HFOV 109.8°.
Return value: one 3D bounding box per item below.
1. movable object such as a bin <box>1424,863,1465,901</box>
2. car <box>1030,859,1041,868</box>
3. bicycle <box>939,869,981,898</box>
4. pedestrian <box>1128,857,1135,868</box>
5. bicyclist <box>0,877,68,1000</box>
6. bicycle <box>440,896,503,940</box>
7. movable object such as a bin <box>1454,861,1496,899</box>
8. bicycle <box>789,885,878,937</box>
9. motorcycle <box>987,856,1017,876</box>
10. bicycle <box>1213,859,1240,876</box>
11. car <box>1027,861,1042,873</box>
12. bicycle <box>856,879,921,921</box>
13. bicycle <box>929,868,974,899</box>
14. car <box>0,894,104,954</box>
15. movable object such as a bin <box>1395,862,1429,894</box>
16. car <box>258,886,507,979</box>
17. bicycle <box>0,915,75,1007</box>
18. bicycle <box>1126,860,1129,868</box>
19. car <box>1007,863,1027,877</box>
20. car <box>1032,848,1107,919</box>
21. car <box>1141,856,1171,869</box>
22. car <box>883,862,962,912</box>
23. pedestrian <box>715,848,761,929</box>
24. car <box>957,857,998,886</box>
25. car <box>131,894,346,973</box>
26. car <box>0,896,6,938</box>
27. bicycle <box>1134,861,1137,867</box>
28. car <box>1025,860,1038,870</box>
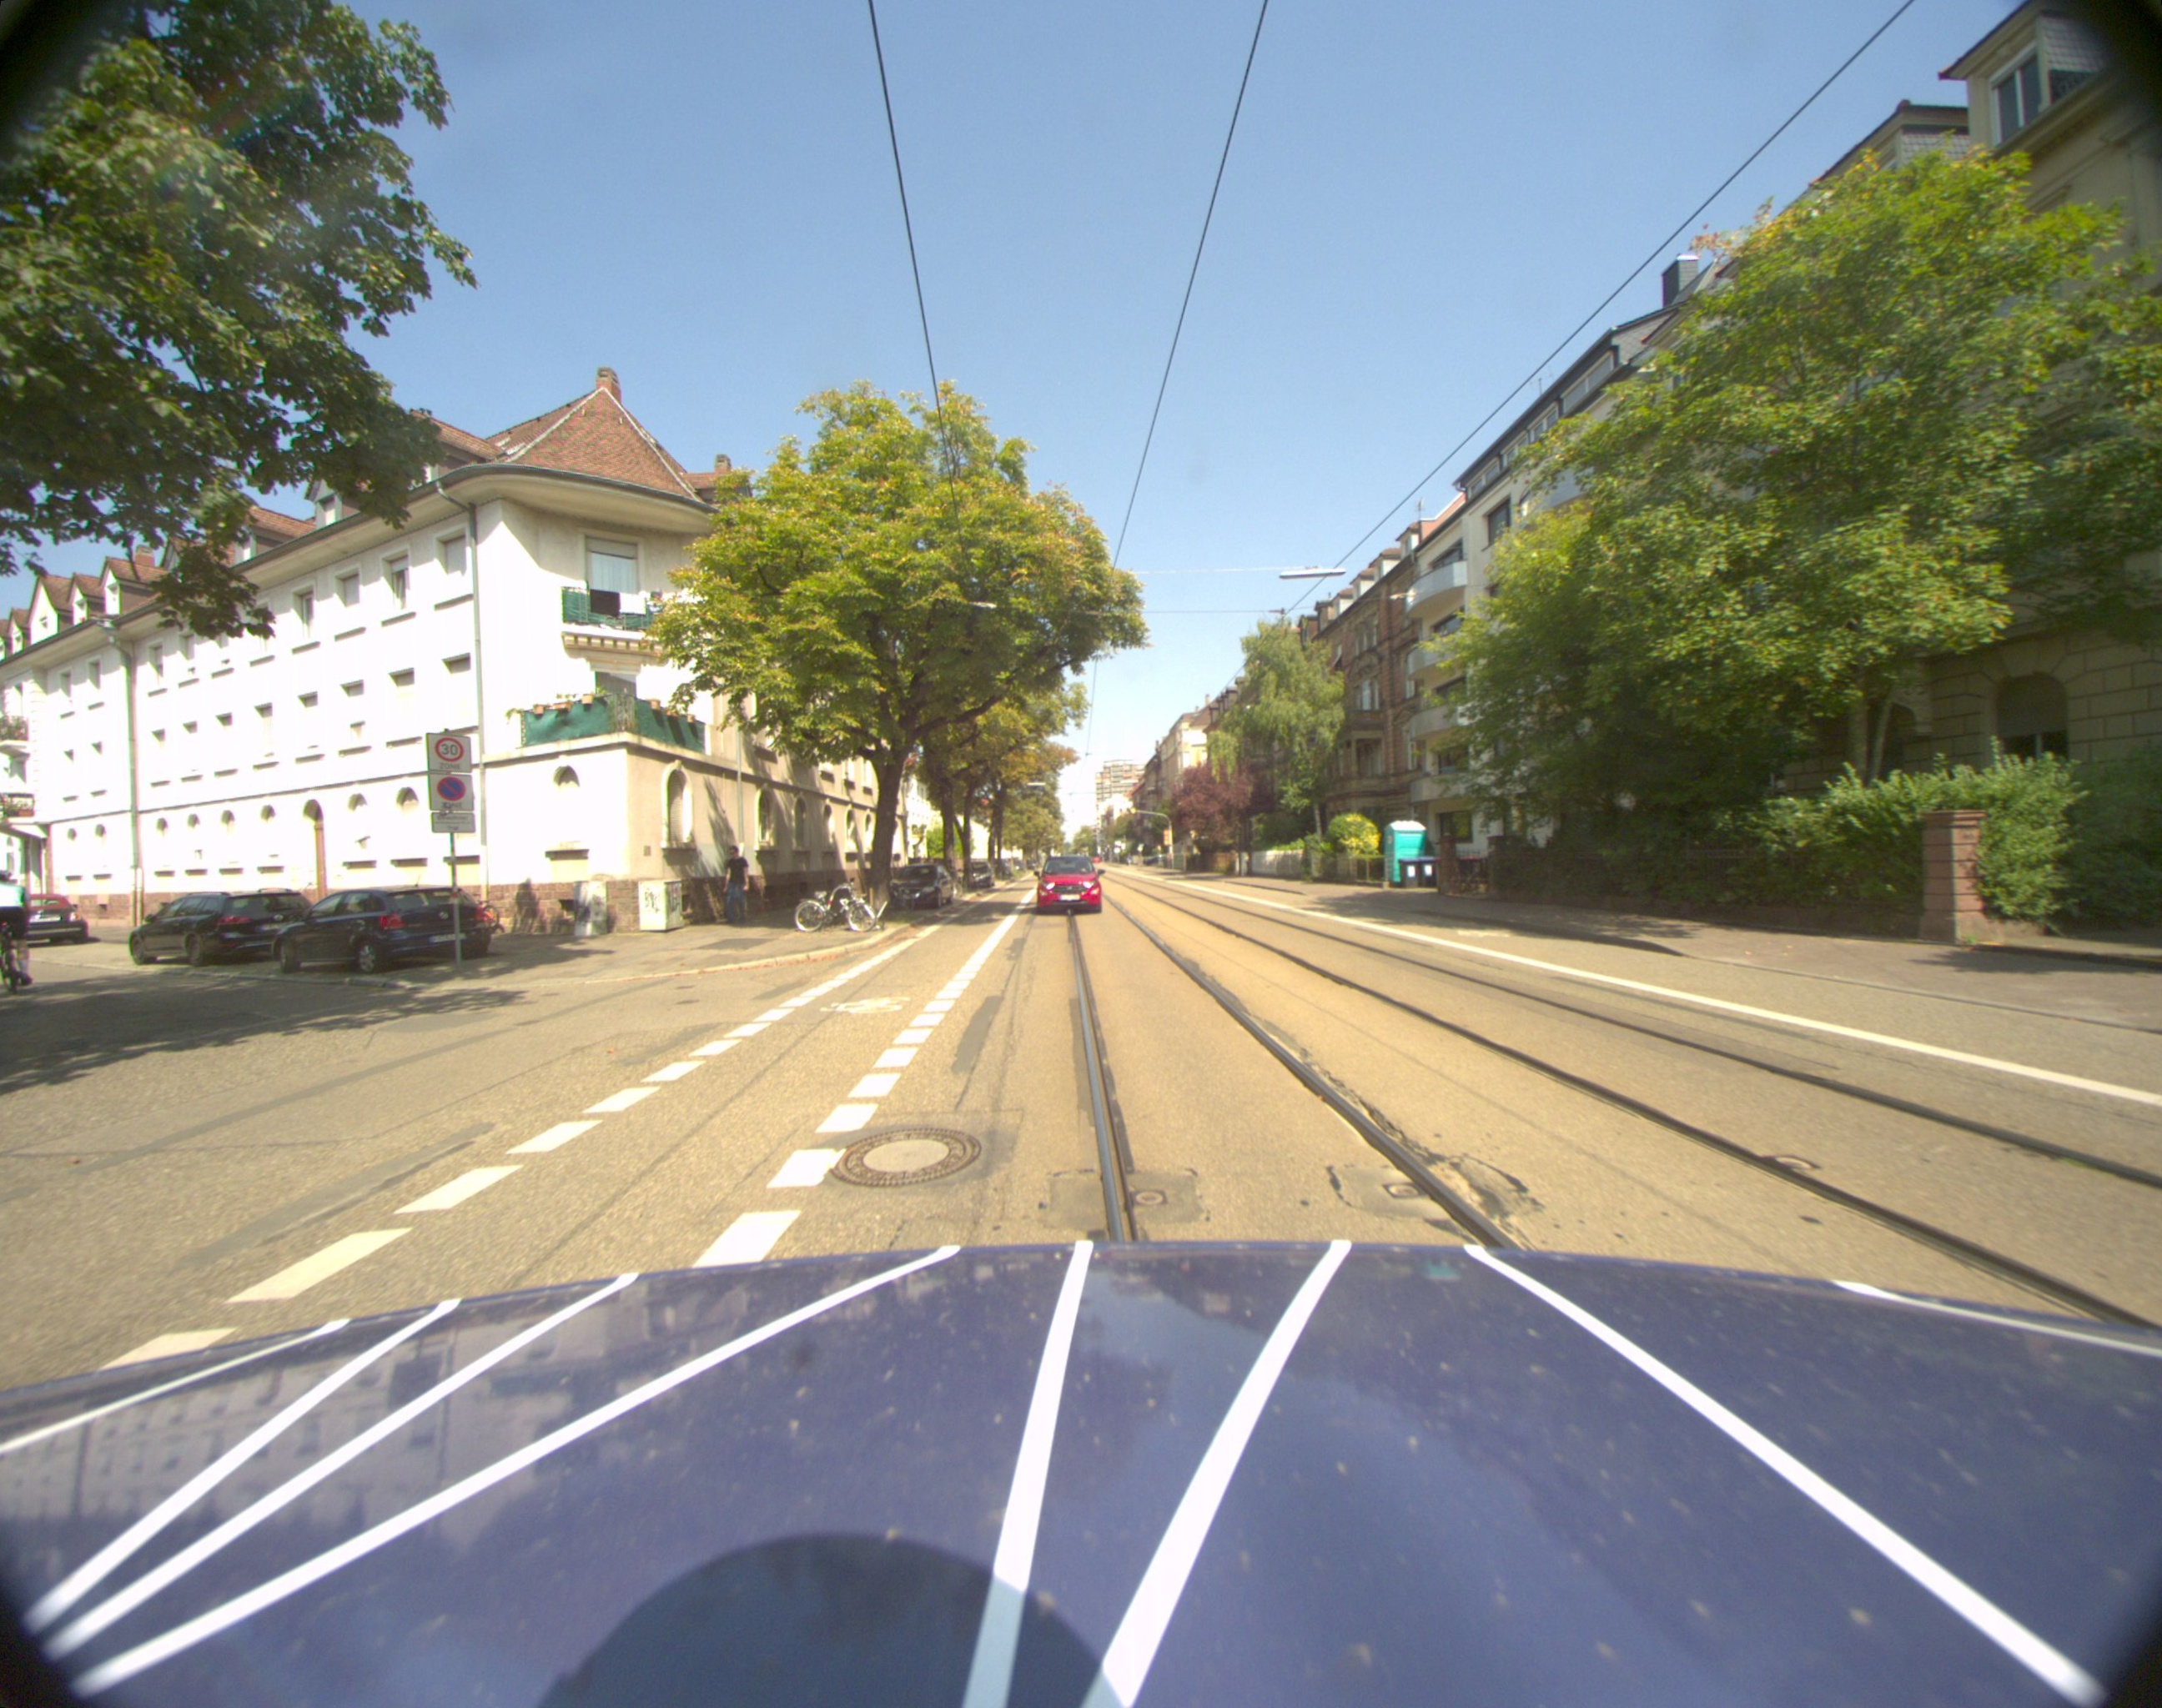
[{"bbox_3d":[10.961,0.838,22.930,0.788,1.069,0.803,-3,0,1],"label":"movable object such as a bin"},{"bbox_3d":[-7.367,1.538,122.401,1.621,1.468,4.039,0,-1,-1],"label":"car"},{"bbox_3d":[-4.926,1.193,31.007,1.609,1.097,0.399,-2,0,5],"label":"bicycle"},{"bbox_3d":[7.699,1.307,115.305,0.885,1.745,0.870,-2,0,-1],"label":"pedestrian"},{"bbox_3d":[-16.746,1.303,11.772,0.953,1.826,1.131,-2,0,32],"label":"bicyclist"},{"bbox_3d":[-13.873,1.455,17.290,1.677,0.936,0.415,-2,0,26],"label":"bicycle"},{"bbox_3d":[11.782,0.774,22.727,0.788,1.069,0.803,-3,0,1],"label":"movable object such as a bin"},{"bbox_3d":[-5.349,1.229,16.502,1.717,1.026,0.566,-2,0,-1],"label":"bicycle"},{"bbox_3d":[-6.214,0.944,59.467,2.339,1.531,0.971,1,2,40],"label":"motorcycle"},{"bbox_3d":[10.585,0.969,55.386,1.817,1.175,0.716,-3,0,1],"label":"bicycle"},{"bbox_3d":[-6.092,1.660,99.673,1.760,1.468,4.386,-2,-1,-2],"label":"car"},{"bbox_3d":[-5.447,1.292,21.543,1.726,1.130,0.377,-2,0,5],"label":"bicycle"},{"bbox_3d":[-5.212,1.186,30.635,1.726,1.143,0.377,-2,0,5],"label":"bicycle"},{"bbox_3d":[-29.932,1.950,21.636,3.941,1.440,1.764,-2,1,26],"label":"car"},{"bbox_3d":[11.519,0.823,26.442,0.789,1.069,0.754,-3,0,-3],"label":"movable object such as a bin"},{"bbox_3d":[-12.273,1.335,13.374,3.601,1.340,1.764,-2,1,21],"label":"car"},{"bbox_3d":[-16.817,1.638,11.835,2.705,1.262,1.154,-2,0,33],"label":"bicycle"},{"bbox_3d":[7.885,1.660,128.911,0.391,1.397,1.582,-2,-1,-1],"label":"bicycle"},{"bbox_3d":[-6.812,1.671,81.110,1.897,1.468,4.840,-2,-1,-2],"label":"car"},{"bbox_3d":[-0.218,0.772,22.014,1.802,1.801,4.417,-2,0,3],"label":"car"},{"bbox_3d":[10.752,1.245,108.939,4.112,1.585,1.879,-3,0,0],"label":"car"},{"bbox_3d":[-5.288,1.040,25.984,1.845,1.523,4.779,0,0,-2],"label":"car"},{"bbox_3d":[-8.220,0.809,18.222,0.708,1.881,0.714,-2,0,0],"label":"pedestrian"},{"bbox_3d":[-5.840,1.040,43.162,1.845,1.522,4.115,-1,-2,-2],"label":"car"},{"bbox_3d":[-17.410,1.596,15.724,3.601,1.340,1.764,-2,1,21],"label":"car"},{"bbox_3d":[-39.072,2.254,26.135,3.941,1.440,1.764,-2,1,26],"label":"car"},{"bbox_3d":[8.543,1.571,118.961,0.391,1.032,1.833,-2,-1,-1],"label":"bicycle"},{"bbox_3d":[-7.272,1.591,111.592,1.760,1.468,4.457,1,0,-1],"label":"car"}]
